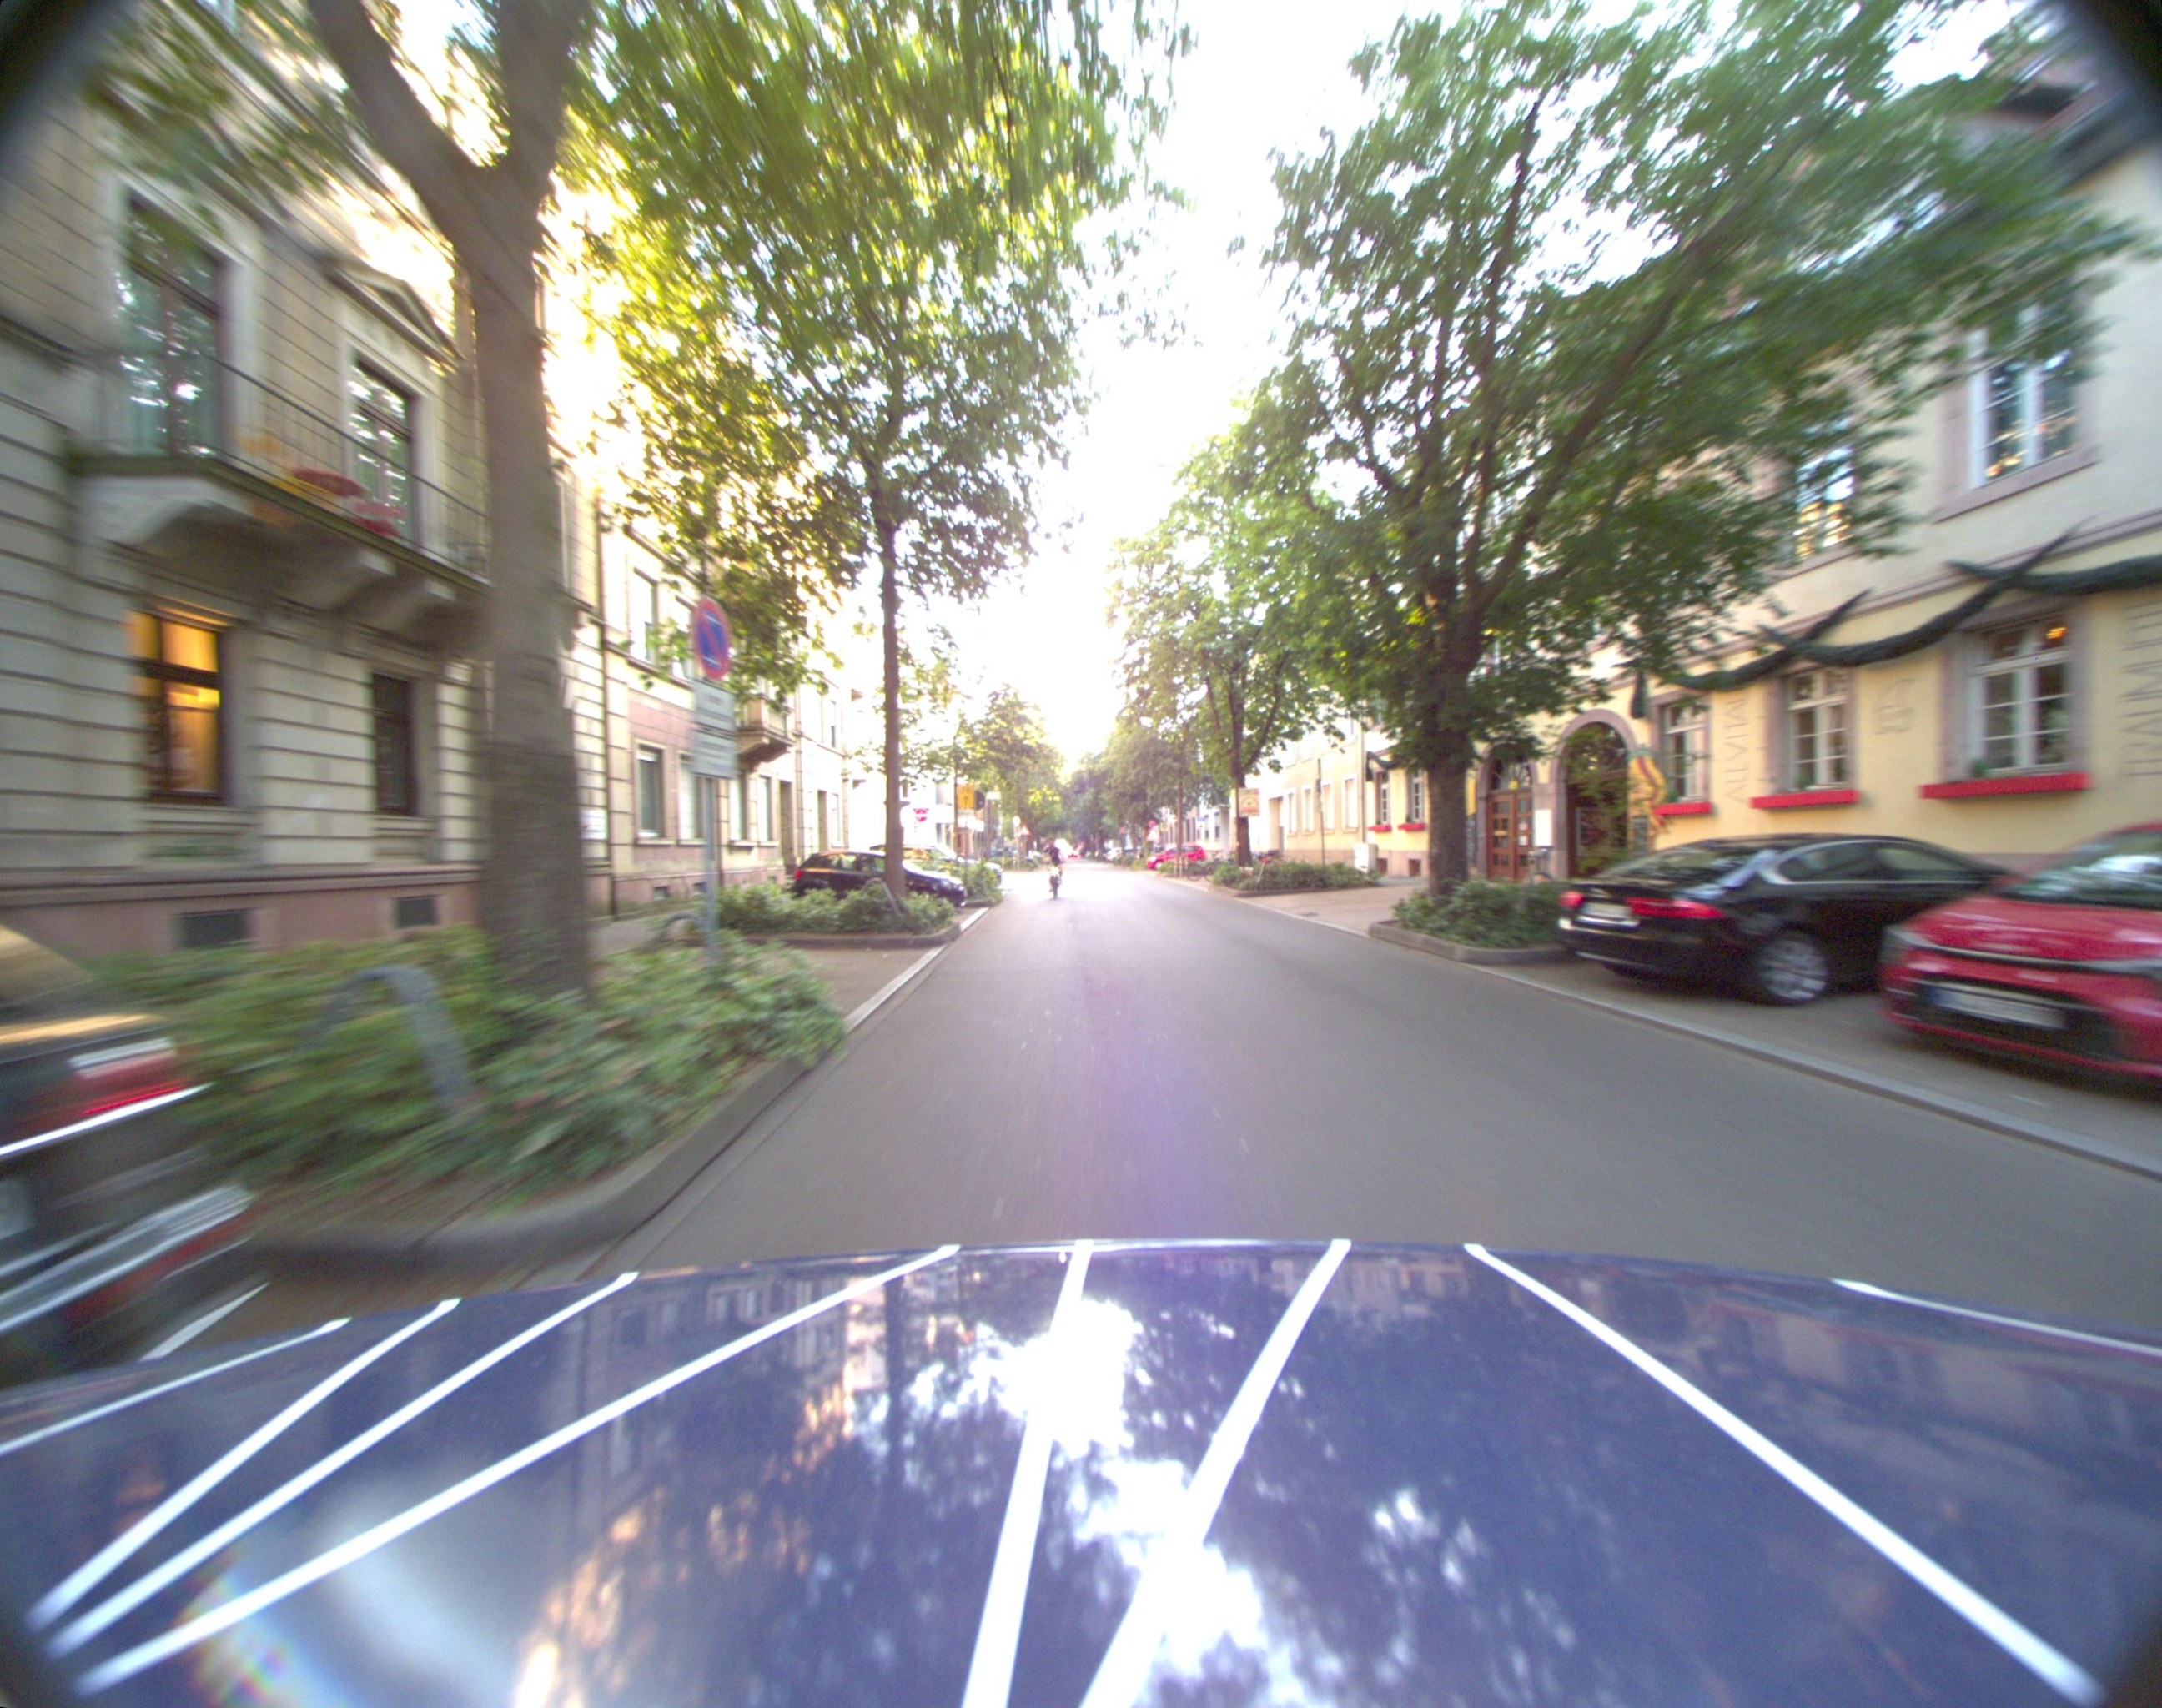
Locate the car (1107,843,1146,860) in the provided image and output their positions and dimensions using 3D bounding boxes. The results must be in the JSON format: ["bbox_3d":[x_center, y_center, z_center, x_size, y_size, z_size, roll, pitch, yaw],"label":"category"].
[{"bbox_3d":[4.337,-0.258,72.718,3.552,1.411,1.590,-4,1,-2],"label":"car"}]

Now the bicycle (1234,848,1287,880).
[{"bbox_3d":[6.829,0.378,28.949,1.869,1.093,0.509,-3,2,-8],"label":"bicycle"}]

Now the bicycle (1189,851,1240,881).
[{"bbox_3d":[5.275,0.464,29.968,1.869,1.093,0.480,-3,2,-8],"label":"bicycle"}]

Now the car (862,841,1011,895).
[{"bbox_3d":[-4.680,0.445,25.002,4.421,1.552,1.867,2,0,5],"label":"car"}]

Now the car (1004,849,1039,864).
[{"bbox_3d":[-6.342,0.238,80.767,3.552,1.411,1.590,-4,1,-2],"label":"car"}]

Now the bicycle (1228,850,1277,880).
[{"bbox_3d":[6.987,0.434,30.912,1.869,1.093,0.480,-3,2,-8],"label":"bicycle"}]

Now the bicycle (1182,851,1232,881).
[{"bbox_3d":[5.079,0.469,30.623,1.869,1.092,0.480,-3,2,-8],"label":"bicycle"}]

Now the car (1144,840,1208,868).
[{"bbox_3d":[5.670,-0.010,45.596,3.498,1.397,1.672,-4,1,-4],"label":"car"}]

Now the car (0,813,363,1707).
[{"bbox_3d":[-4.091,0.789,0.920,4.452,1.708,1.967,0,2,-2],"label":"car"}]

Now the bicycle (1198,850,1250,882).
[{"bbox_3d":[5.553,0.468,29.450,1.869,1.138,0.480,-3,2,-8],"label":"bicycle"}]

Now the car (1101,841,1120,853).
[{"bbox_3d":[3.664,-0.901,93.992,1.999,1.368,3.998,-2,2,-2],"label":"car"}]

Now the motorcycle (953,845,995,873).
[{"bbox_3d":[-6.183,0.279,43.950,2.248,1.537,0.772,-3,2,-17],"label":"motorcycle"}]

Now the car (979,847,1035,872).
[{"bbox_3d":[-5.786,0.421,59.943,4.167,1.666,1.590,-4,1,-2],"label":"car"}]

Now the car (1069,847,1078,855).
[{"bbox_3d":[-1.527,-0.511,147.261,1.673,1.411,3.554,-4,1,-1],"label":"car"}]

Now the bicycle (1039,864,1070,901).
[{"bbox_3d":[-0.756,0.828,22.503,0.778,0.967,2.024,-2,1,1],"label":"bicycle"}]

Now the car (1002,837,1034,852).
[{"bbox_3d":[-7.309,-1.109,88.972,3.552,1.411,1.590,-4,1,-2],"label":"car"}]

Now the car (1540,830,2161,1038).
[{"bbox_3d":[6.908,0.599,6.981,4.437,1.399,1.717,-3,2,-5],"label":"car"}]

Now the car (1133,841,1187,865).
[{"bbox_3d":[5.649,-0.086,54.378,3.553,1.411,1.590,-4,1,-4],"label":"car"}]

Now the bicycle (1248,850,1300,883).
[{"bbox_3d":[6.805,0.433,26.802,1.712,1.093,0.480,-3,2,-8],"label":"bicycle"}]

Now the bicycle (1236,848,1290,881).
[{"bbox_3d":[6.778,0.383,28.251,1.869,1.093,0.480,-3,2,-8],"label":"bicycle"}]

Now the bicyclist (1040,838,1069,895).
[{"bbox_3d":[-0.768,0.349,22.457,0.753,1.612,1.147,-2,1,1],"label":"bicyclist"}]

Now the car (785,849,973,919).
[{"bbox_3d":[-4.576,0.668,17.656,3.876,1.419,1.781,2,0,-3],"label":"car"}]

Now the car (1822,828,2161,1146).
[{"bbox_3d":[7.064,0.582,4.530,3.694,1.441,1.659,-4,1,-2],"label":"car"}]
